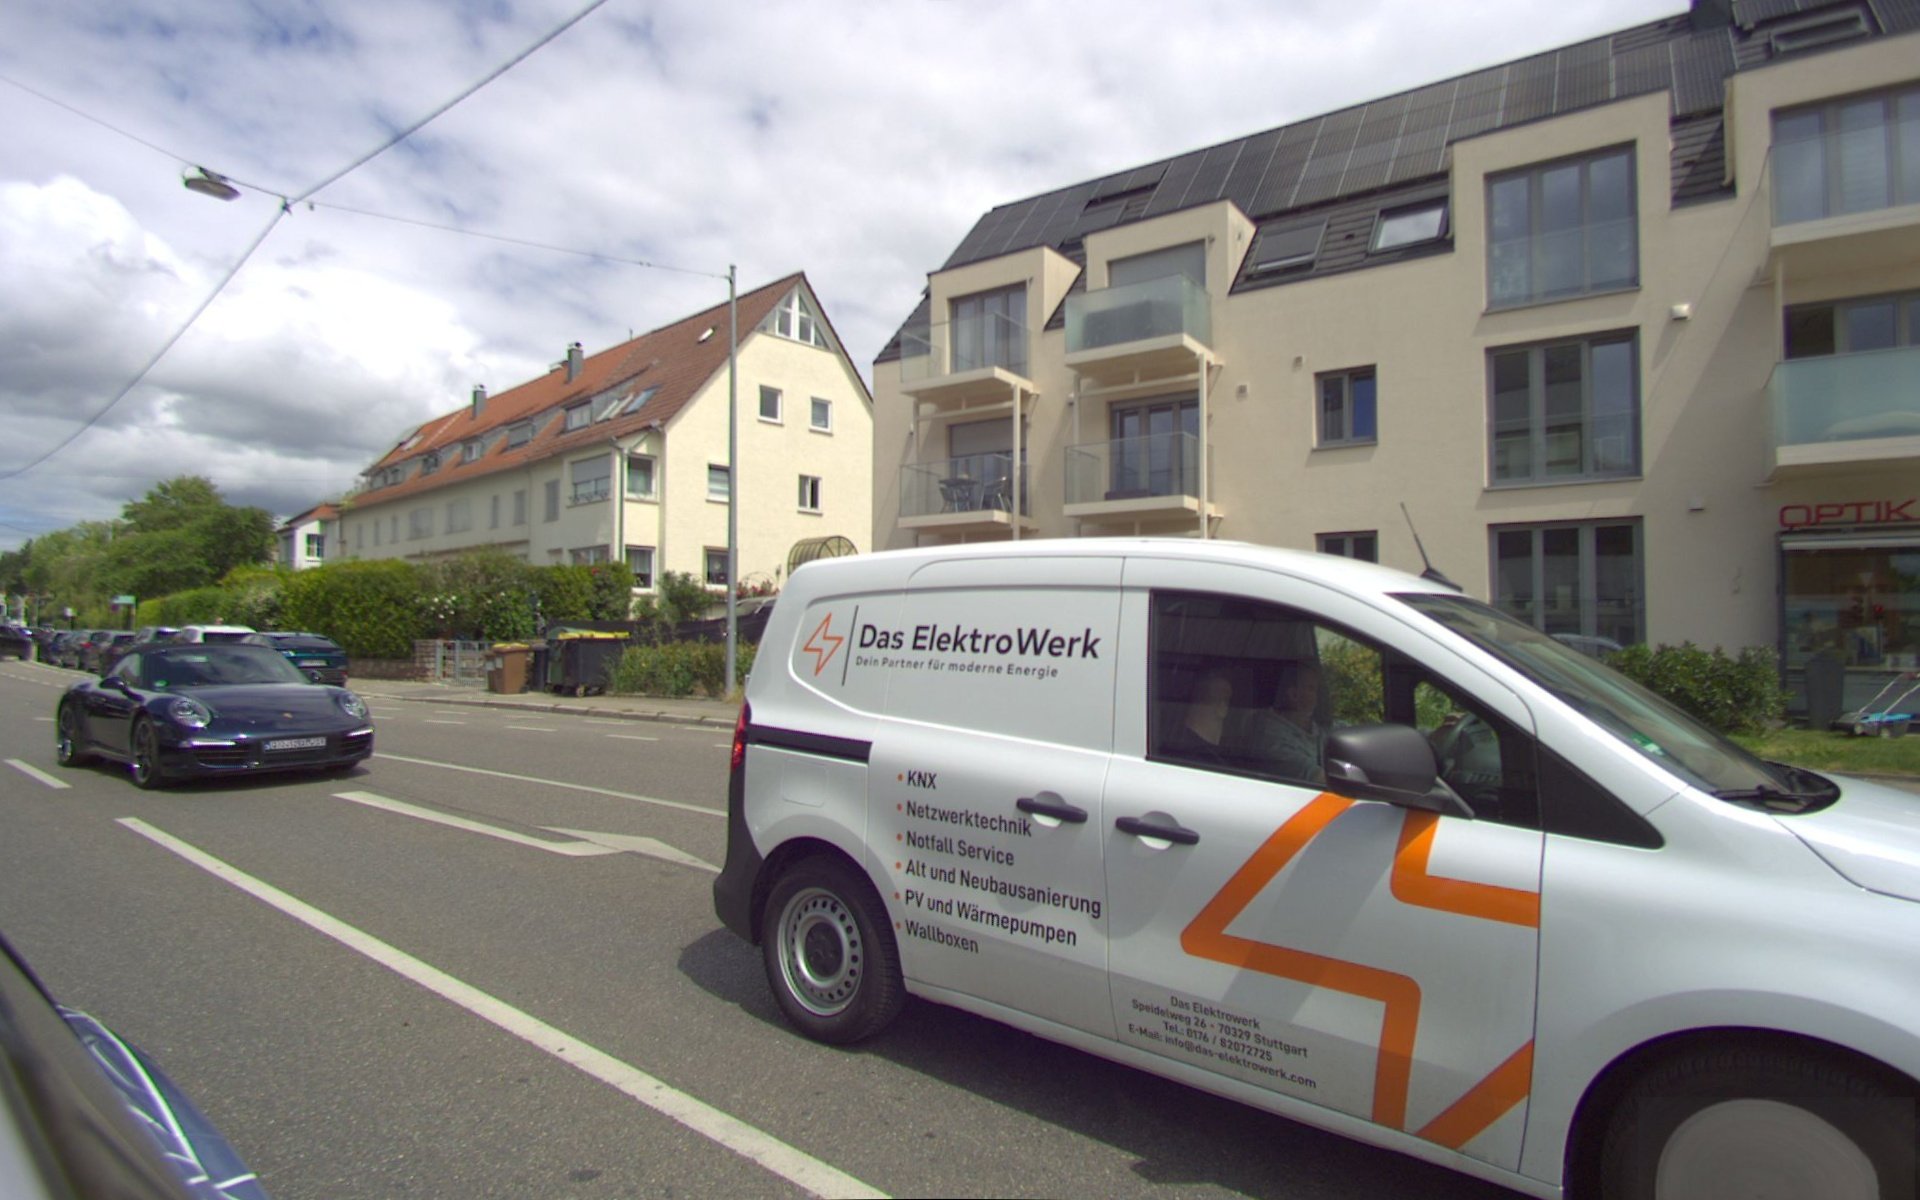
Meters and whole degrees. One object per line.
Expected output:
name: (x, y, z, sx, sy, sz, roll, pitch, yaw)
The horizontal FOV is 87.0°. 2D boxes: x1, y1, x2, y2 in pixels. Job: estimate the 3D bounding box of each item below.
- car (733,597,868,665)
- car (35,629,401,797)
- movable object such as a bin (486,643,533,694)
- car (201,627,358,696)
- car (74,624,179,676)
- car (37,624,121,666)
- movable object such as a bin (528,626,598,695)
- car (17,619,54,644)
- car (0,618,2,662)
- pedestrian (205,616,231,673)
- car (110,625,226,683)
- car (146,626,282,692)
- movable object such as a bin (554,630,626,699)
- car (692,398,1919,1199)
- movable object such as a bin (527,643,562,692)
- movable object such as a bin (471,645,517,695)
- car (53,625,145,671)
car: (-5.067, 0.972, 32.506, 1.998, 2.029, 3.946, -1, -2, 40)
car: (-7.594, 0.982, 10.253, 4.035, 1.374, 1.794, -1, -2, 35)
movable object such as a bin: (-9.897, 1.497, 22.233, 0.752, 1.073, 0.693, 2, -2, -43)
car: (-16.426, 1.415, 24.352, 4.446, 1.513, 1.797, -1, -2, 38)
car: (-28.476, 1.694, 34.550, 4.233, 1.645, 1.973, -1, -4, 40)
car: (-36.648, 1.846, 42.074, 4.233, 1.645, 1.973, -1, -2, 40)
movable object such as a bin: (-8.644, 1.300, 22.044, 0.980, 1.457, 1.078, -1, -2, 40)
car: (-75.348, 2.548, 82.526, 1.968, 1.929, 4.076, 1, -2, -39)
car: (-43.709, 1.748, 44.521, 4.068, 1.929, 1.972, -1, -2, 42)
pedestrian: (-24.167, 1.429, 32.952, 0.511, 1.830, 0.527, -1, -2, 35)
car: (-24.268, 1.587, 30.963, 4.233, 1.645, 1.973, -1, -2, 40)
car: (-20.287, 1.532, 27.465, 4.450, 1.645, 1.973, -1, -2, 40)
movable object such as a bin: (-7.749, 1.325, 21.194, 0.980, 1.373, 1.078, -1, -2, 40)
car: (1.227, 0.596, 3.294, 4.413, 1.825, 1.798, -1, -2, 39)
movable object such as a bin: (-9.312, 1.497, 22.688, 0.516, 1.073, 0.656, 0, -2, 1)
movable object such as a bin: (-10.452, 1.550, 22.718, 0.752, 1.073, 0.693, 2, -2, -43)
car: (-32.654, 1.783, 38.345, 4.233, 1.645, 1.973, -1, -2, 40)
